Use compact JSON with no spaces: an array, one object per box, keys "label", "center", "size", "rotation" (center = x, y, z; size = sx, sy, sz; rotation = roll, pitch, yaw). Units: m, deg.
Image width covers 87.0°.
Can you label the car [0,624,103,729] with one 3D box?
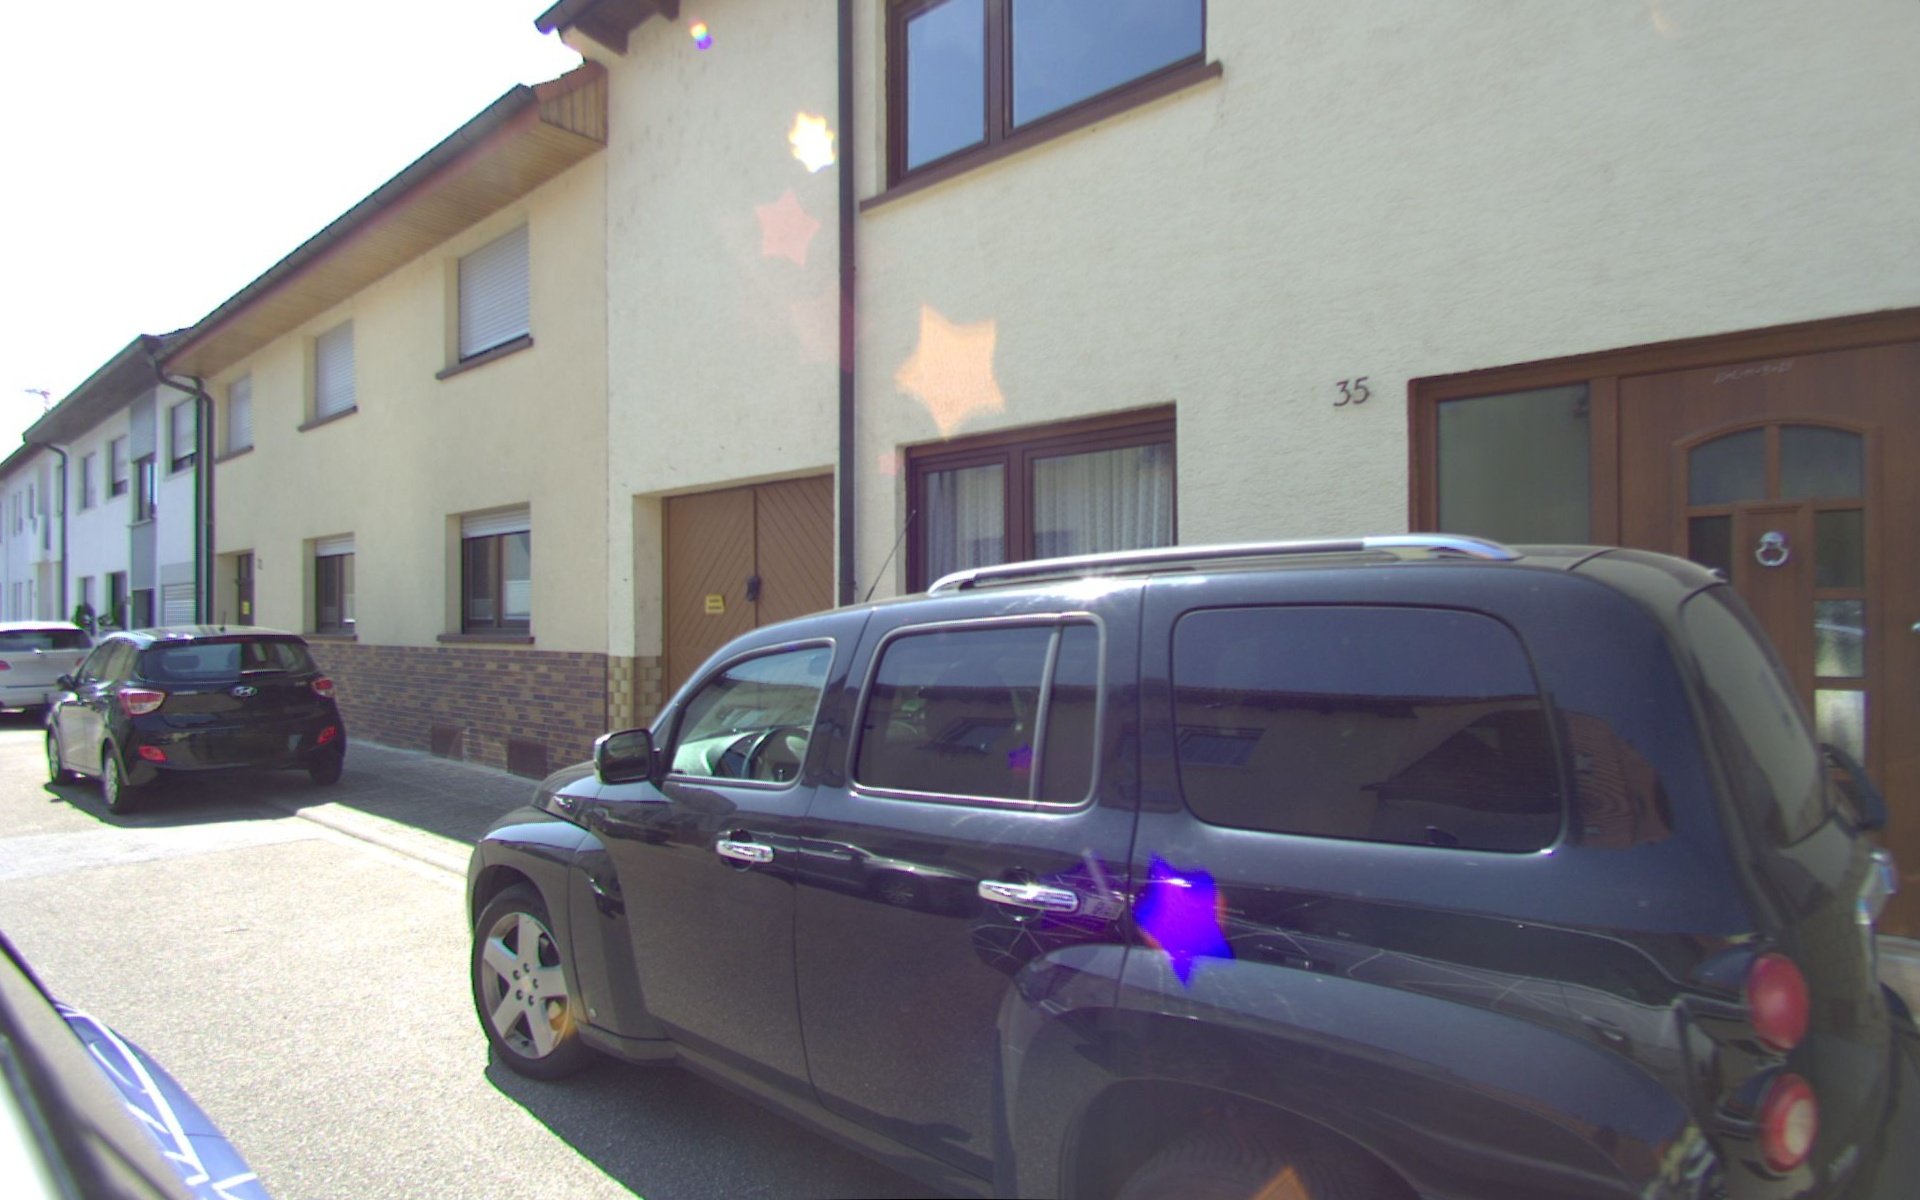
[{"label":"car","center":[-15.704,1.187,16.676],"size":[3.937,1.561,1.647],"rotation":[-1,-1,38]}]

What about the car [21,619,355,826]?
[{"label":"car","center":[-7.342,0.968,9.492],"size":[3.938,1.549,1.624],"rotation":[-1,-2,40]}]

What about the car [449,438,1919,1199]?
[{"label":"car","center":[0.276,0.695,2.810],"size":[3.988,1.627,1.704],"rotation":[-1,-2,42]}]

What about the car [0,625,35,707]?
[{"label":"car","center":[-20.000,1.286,20.219],"size":[3.683,1.553,1.647],"rotation":[-1,-2,38]}]
